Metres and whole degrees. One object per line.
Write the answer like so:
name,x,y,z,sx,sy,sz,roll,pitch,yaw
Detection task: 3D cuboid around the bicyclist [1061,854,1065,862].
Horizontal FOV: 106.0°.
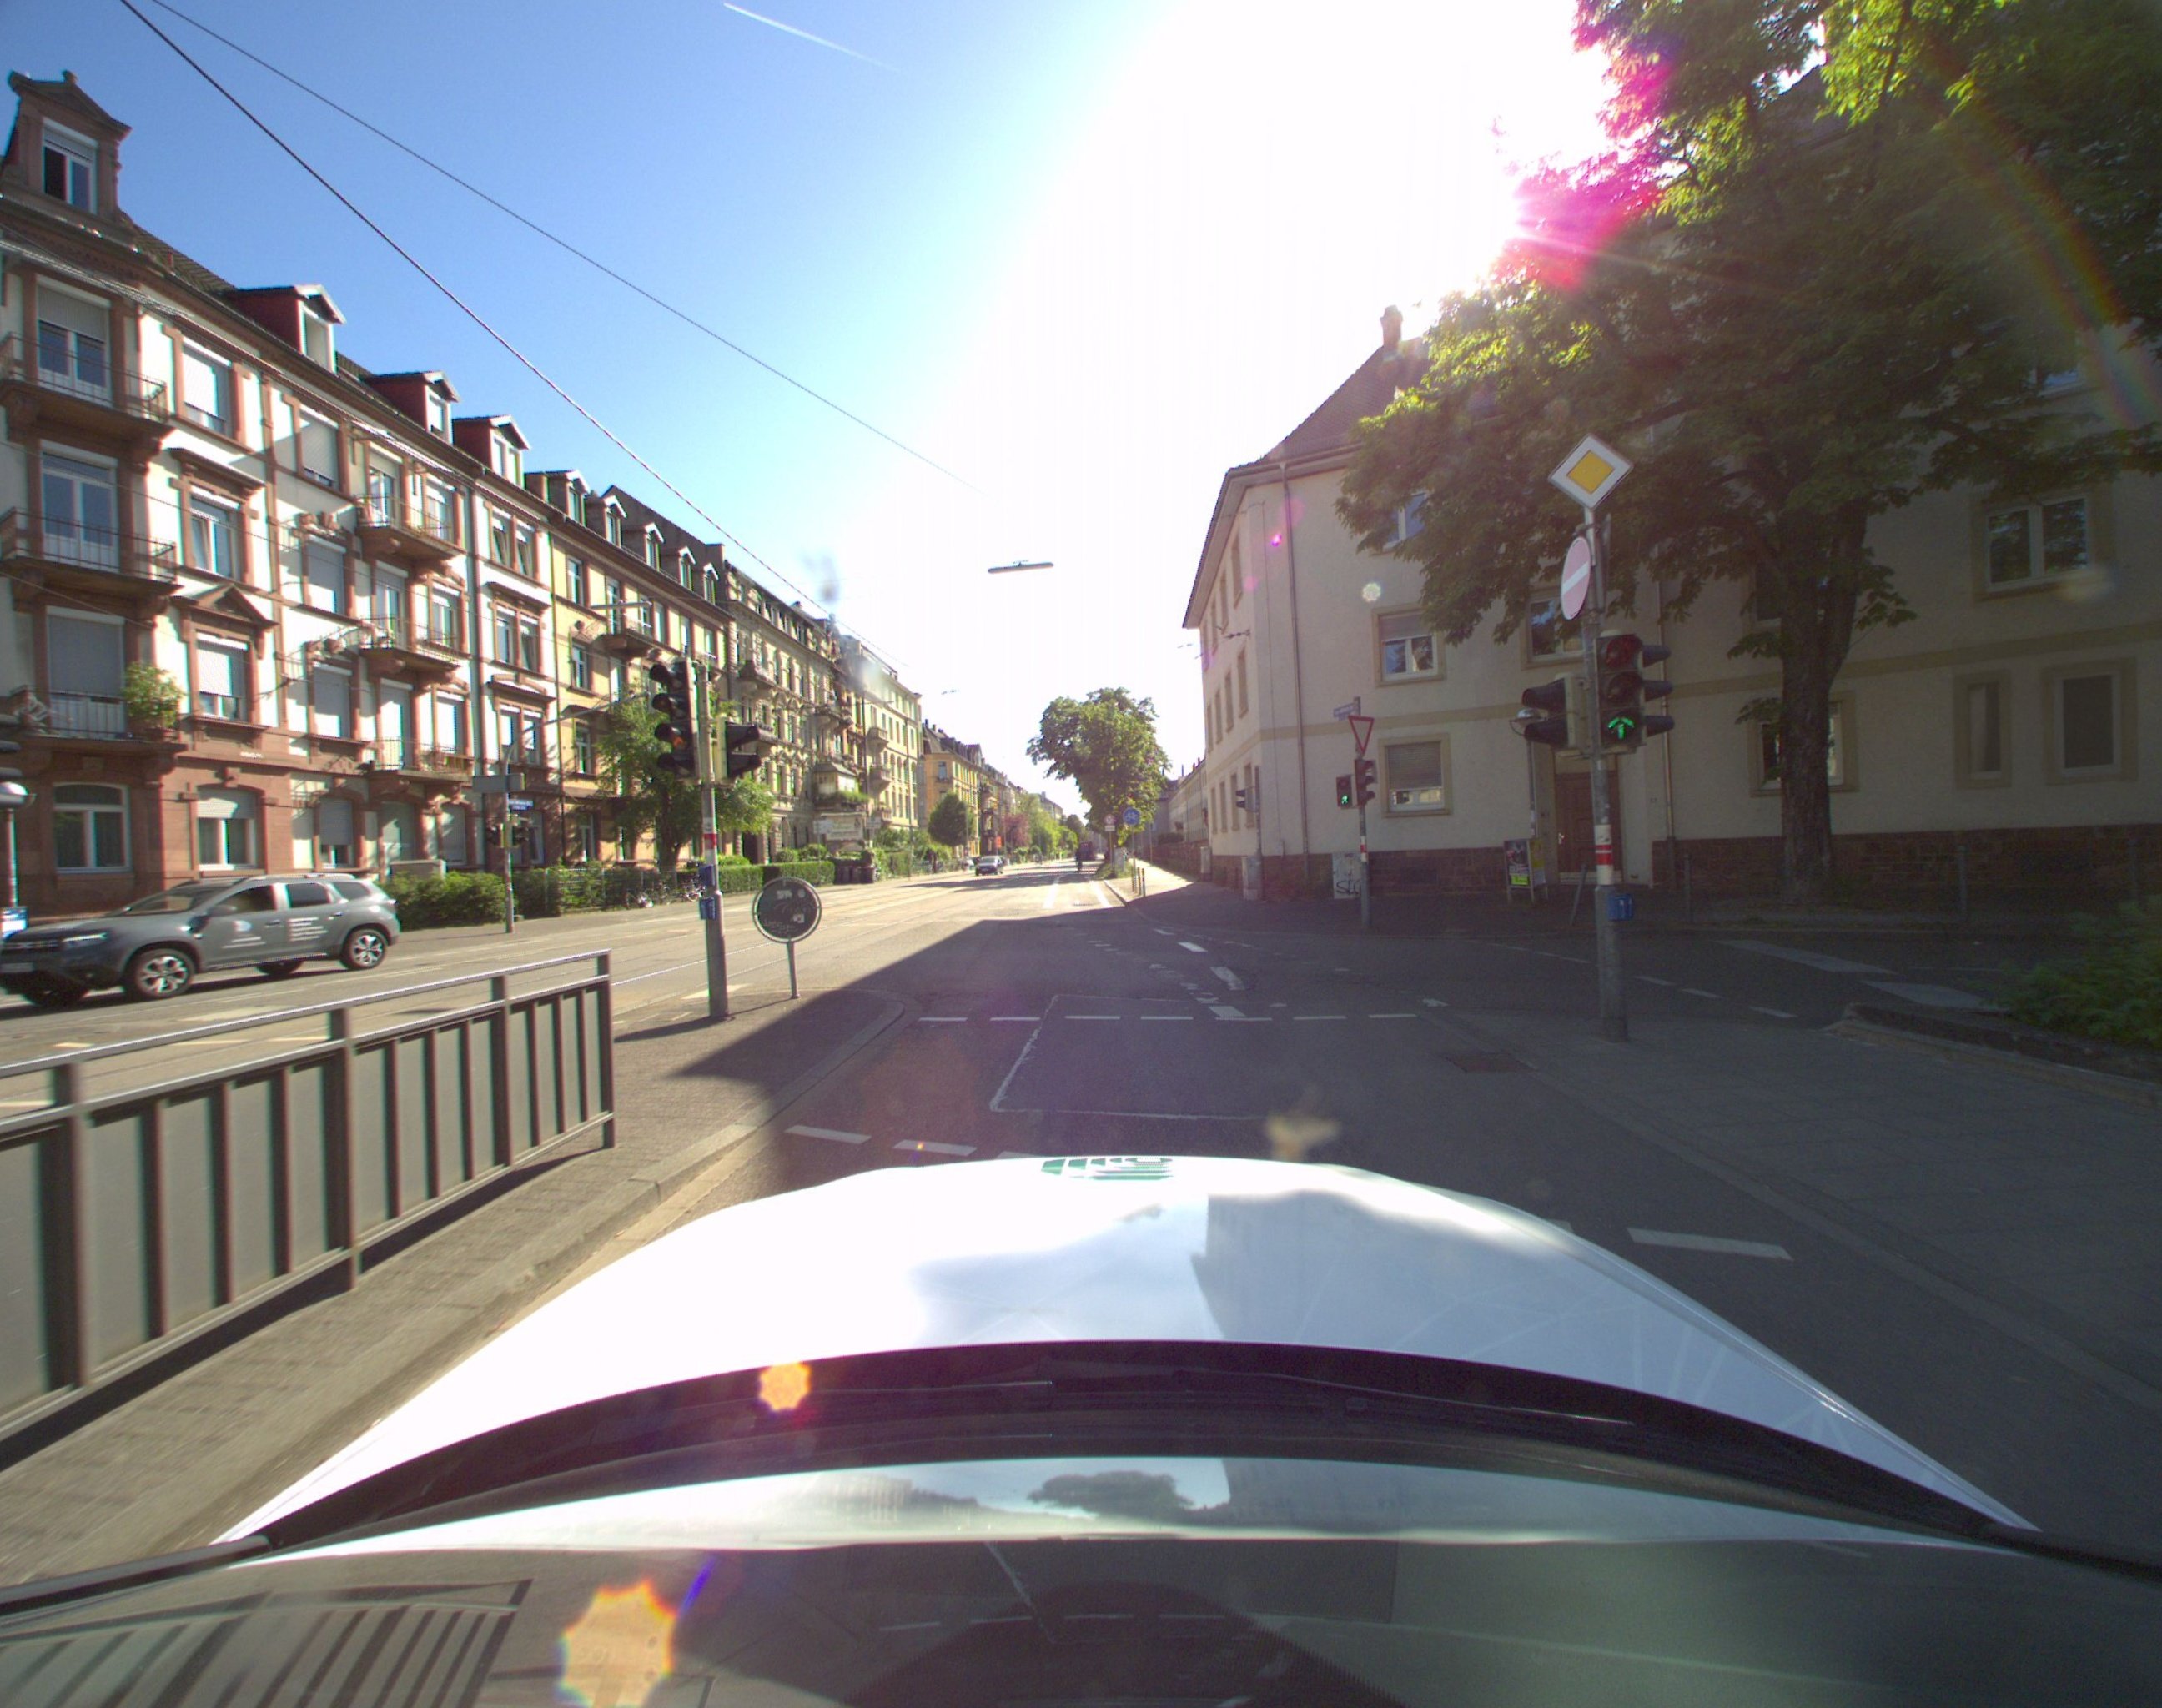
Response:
bicyclist,-4.101,0.822,185.342,0.657,1.801,0.616,-5,-1,2

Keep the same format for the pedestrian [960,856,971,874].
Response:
pedestrian,-11.247,1.054,79.244,0.826,1.724,1.083,-1,-1,2

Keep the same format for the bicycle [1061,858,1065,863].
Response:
bicycle,-4.064,1.536,185.358,0.689,1.112,1.720,-4,0,3

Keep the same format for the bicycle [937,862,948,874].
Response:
bicycle,-12.583,1.266,74.044,0.561,1.033,1.768,-1,0,2

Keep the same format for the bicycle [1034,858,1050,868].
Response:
bicycle,-4.788,1.096,99.837,1.918,1.112,0.689,-1,0,-22

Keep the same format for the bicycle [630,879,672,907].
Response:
bicycle,-16.213,1.461,30.765,0.340,0.926,1.947,-1,0,7

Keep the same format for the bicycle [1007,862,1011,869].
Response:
bicycle,-10.410,1.702,117.940,0.334,1.001,1.871,-1,0,3

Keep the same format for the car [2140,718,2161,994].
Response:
car,9.749,0.000,4.411,1.697,2.092,4.699,-1,0,-44

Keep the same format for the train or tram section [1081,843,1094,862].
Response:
train or tram section,1.291,-0.241,154.529,2.145,3.431,6.615,-1,0,2

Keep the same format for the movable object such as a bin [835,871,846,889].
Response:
movable object such as a bin,-15.208,1.651,51.508,0.477,1.086,0.542,-1,0,4

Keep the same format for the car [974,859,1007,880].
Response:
car,-7.182,1.215,65.293,1.824,1.518,4.971,0,0,3

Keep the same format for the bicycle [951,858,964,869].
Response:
bicycle,-12.264,0.975,81.002,0.567,1.033,1.749,-2,1,-34

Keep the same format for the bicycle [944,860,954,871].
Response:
bicycle,-12.808,1.115,78.894,0.565,1.033,1.755,2,0,-22

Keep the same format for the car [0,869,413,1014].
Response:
car,-12.879,1.146,12.270,1.890,1.618,4.267,-4,0,2

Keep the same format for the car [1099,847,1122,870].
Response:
car,2.425,0.353,66.872,1.737,1.766,4.480,-1,0,2

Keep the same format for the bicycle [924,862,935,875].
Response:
bicycle,-12.981,1.248,69.836,0.561,1.033,1.769,-1,1,3

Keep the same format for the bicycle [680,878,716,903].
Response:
bicycle,-15.762,1.501,33.557,0.340,0.926,1.947,-1,0,7

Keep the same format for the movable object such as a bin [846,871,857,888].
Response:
movable object such as a bin,-14.527,1.621,51.527,0.477,1.086,0.542,-1,0,4

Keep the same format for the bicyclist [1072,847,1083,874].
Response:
bicyclist,-0.258,0.464,58.224,0.724,1.848,0.837,-1,0,2

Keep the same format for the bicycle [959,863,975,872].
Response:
bicycle,-13.283,1.577,94.893,1.795,0.914,0.614,-1,-2,-34

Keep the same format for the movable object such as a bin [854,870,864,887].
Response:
movable object such as a bin,-14.252,1.578,52.260,0.477,1.086,0.542,-1,0,4

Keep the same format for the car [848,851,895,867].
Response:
car,-22.357,0.542,87.164,4.424,1.643,1.969,-1,0,5

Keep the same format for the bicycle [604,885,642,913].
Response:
bicycle,-16.310,1.596,29.035,0.340,0.926,1.455,-1,0,7

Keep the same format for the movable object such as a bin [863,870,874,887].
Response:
movable object such as a bin,-13.640,1.577,52.246,0.477,1.086,0.542,-1,0,4

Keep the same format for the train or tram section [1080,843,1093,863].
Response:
train or tram section,1.003,-0.227,147.871,2.145,3.431,6.615,-1,0,2

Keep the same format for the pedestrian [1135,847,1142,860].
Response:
pedestrian,7.776,-0.052,109.660,0.755,1.724,0.583,-1,0,31

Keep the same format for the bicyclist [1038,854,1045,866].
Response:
bicyclist,-4.841,0.762,99.826,0.616,1.468,0.632,-1,0,-22

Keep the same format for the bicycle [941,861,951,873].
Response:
bicycle,-12.634,1.233,76.187,0.561,1.033,1.768,-1,0,2

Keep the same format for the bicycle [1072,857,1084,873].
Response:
bicycle,-0.204,0.794,57.968,0.689,1.112,1.720,-1,0,3
